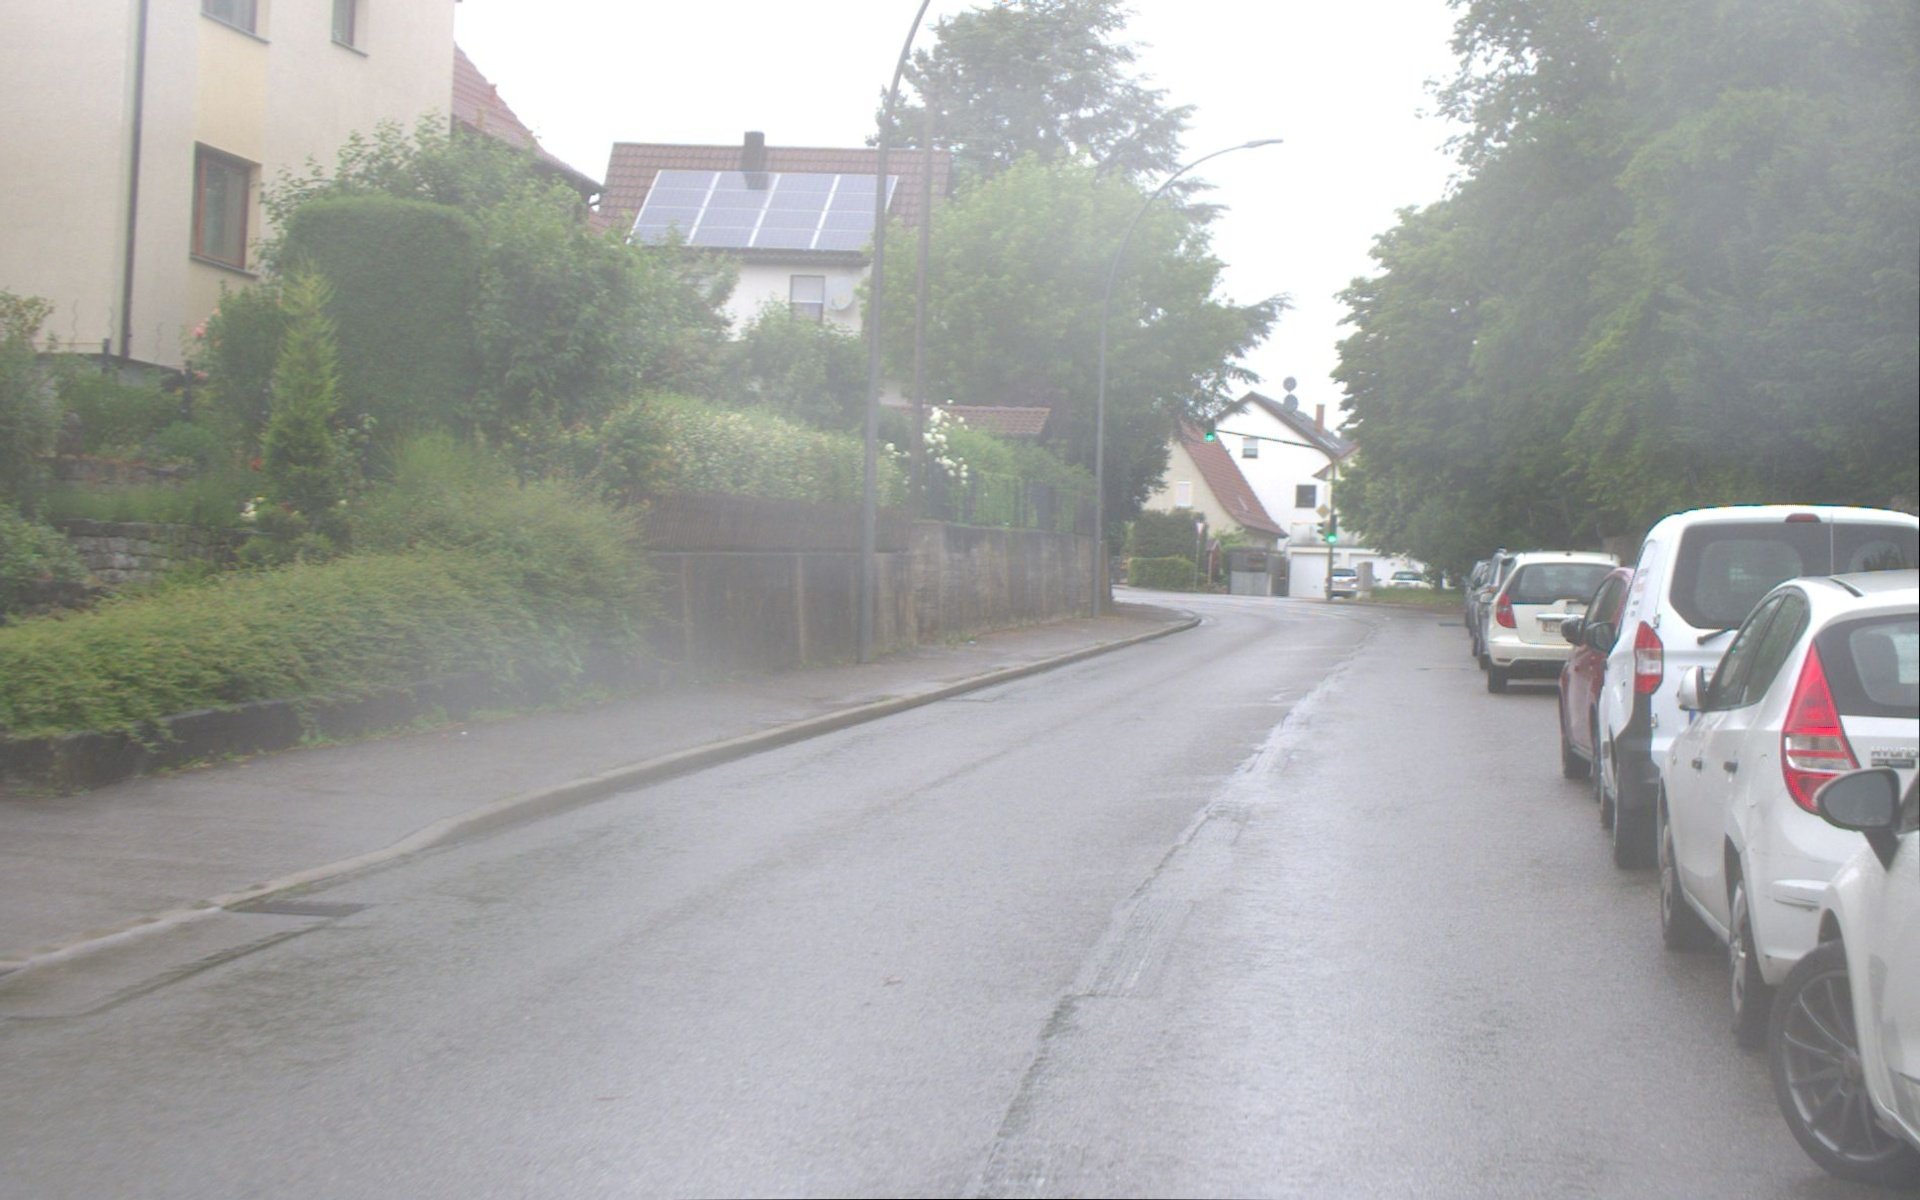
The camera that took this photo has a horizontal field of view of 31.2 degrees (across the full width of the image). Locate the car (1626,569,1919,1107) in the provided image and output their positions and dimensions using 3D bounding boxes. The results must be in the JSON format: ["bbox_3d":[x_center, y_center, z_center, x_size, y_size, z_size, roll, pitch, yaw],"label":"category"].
[{"bbox_3d":[3.298,0.692,11.836,1.646,1.457,3.999,2,2,7],"label":"car"}]

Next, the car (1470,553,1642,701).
[{"bbox_3d":[6.833,0.299,39.561,1.815,1.568,3.878,2,0,9],"label":"car"}]

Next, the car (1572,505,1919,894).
[{"bbox_3d":[4.100,0.447,17.819,1.638,1.735,4.134,2,0,8],"label":"car"}]

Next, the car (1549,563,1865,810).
[{"bbox_3d":[4.826,0.502,22.617,1.584,1.450,3.663,0,1,5],"label":"car"}]

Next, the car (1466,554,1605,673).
[{"bbox_3d":[8.640,0.199,51.887,1.742,1.662,4.496,2,0,6],"label":"car"}]

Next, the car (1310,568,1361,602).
[{"bbox_3d":[17.059,-0.690,156.079,1.908,1.437,3.998,2,1,11],"label":"car"}]

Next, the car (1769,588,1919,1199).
[{"bbox_3d":[2.777,0.743,7.072,1.612,1.475,4.037,1,1,6],"label":"car"}]

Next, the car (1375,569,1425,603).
[{"bbox_3d":[19.886,-0.635,155.340,1.908,1.437,3.998,2,1,11],"label":"car"}]
